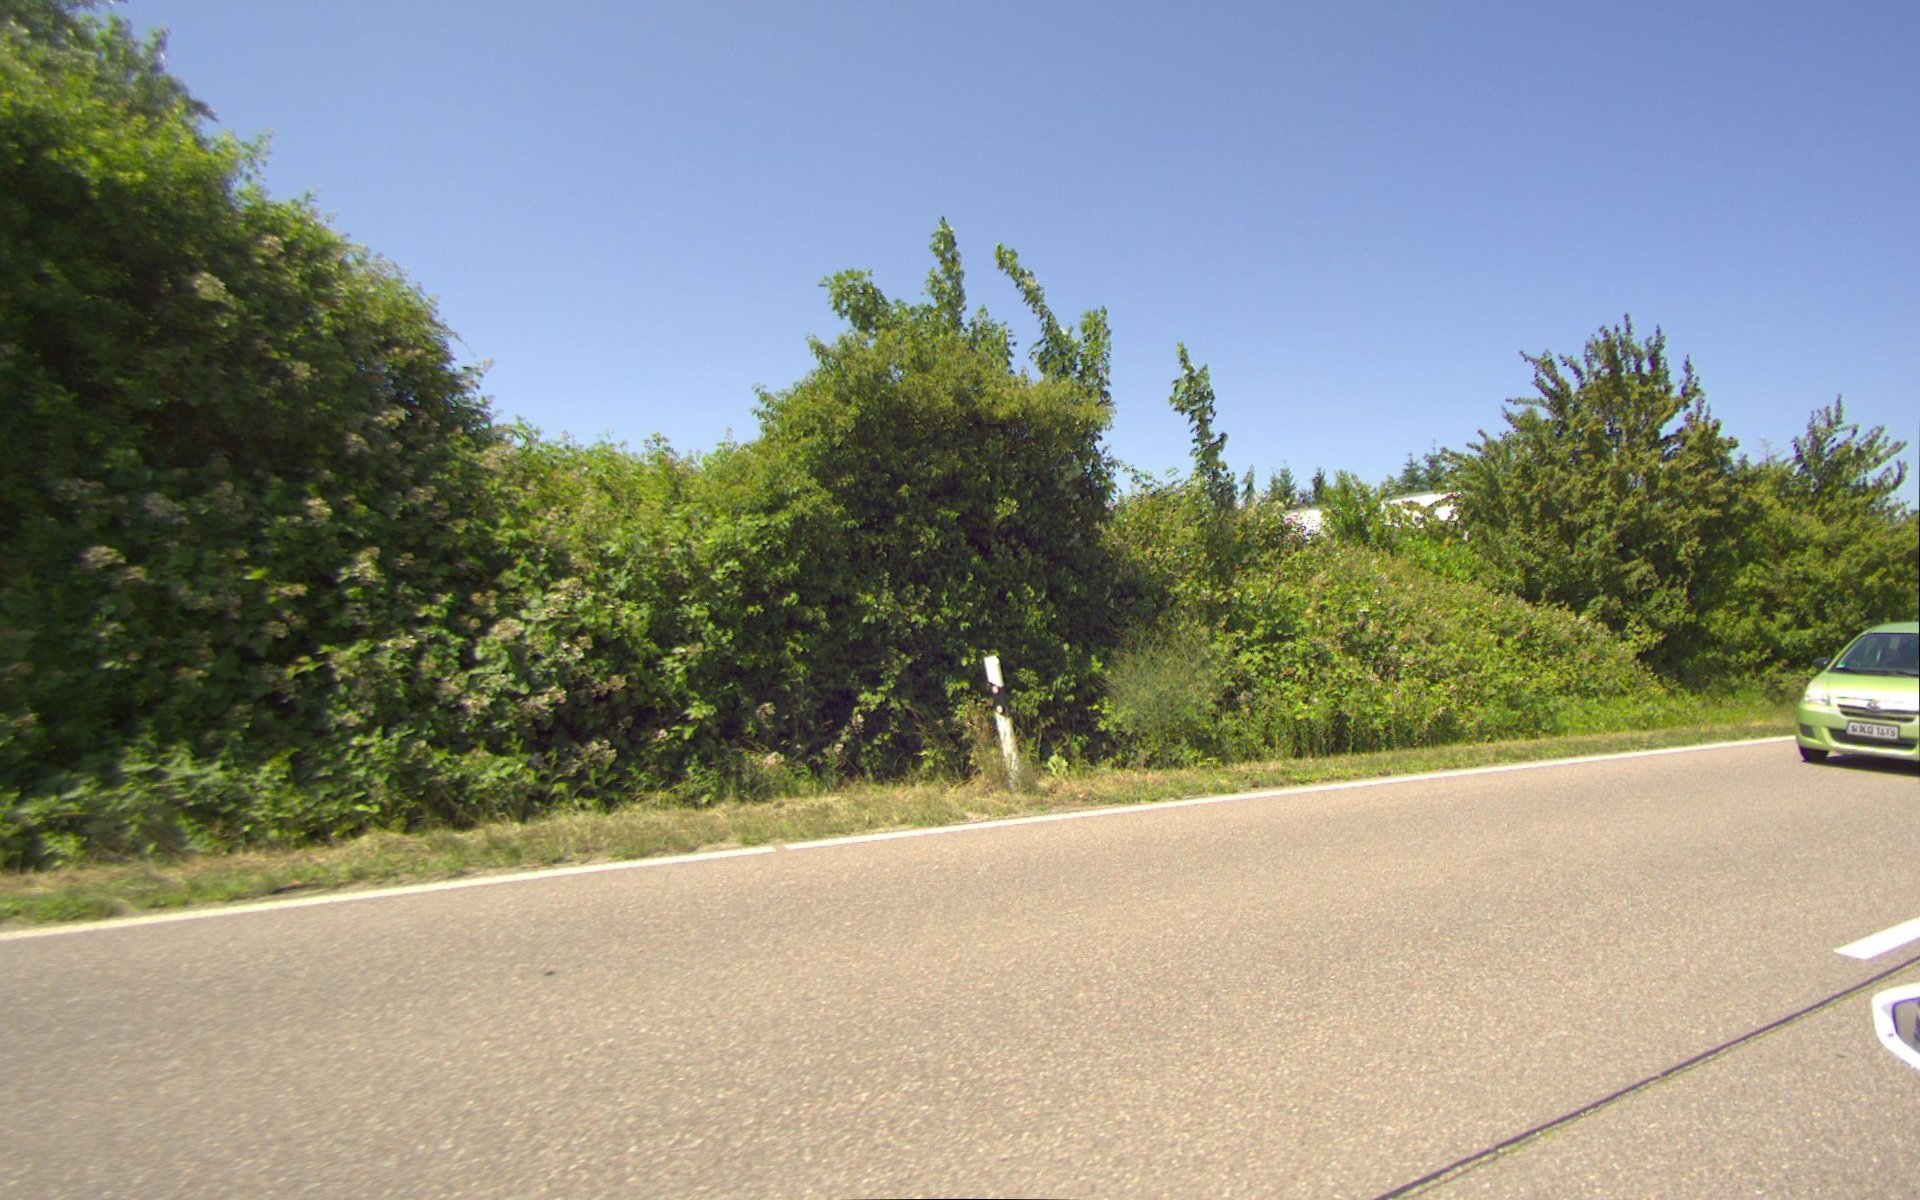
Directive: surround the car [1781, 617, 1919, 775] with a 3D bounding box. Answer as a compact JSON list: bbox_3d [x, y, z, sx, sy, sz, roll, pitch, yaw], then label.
[{"bbox_3d":[10.814,0.983,11.041,3.786,1.515,1.490,1,0,-29],"label":"car"}]
